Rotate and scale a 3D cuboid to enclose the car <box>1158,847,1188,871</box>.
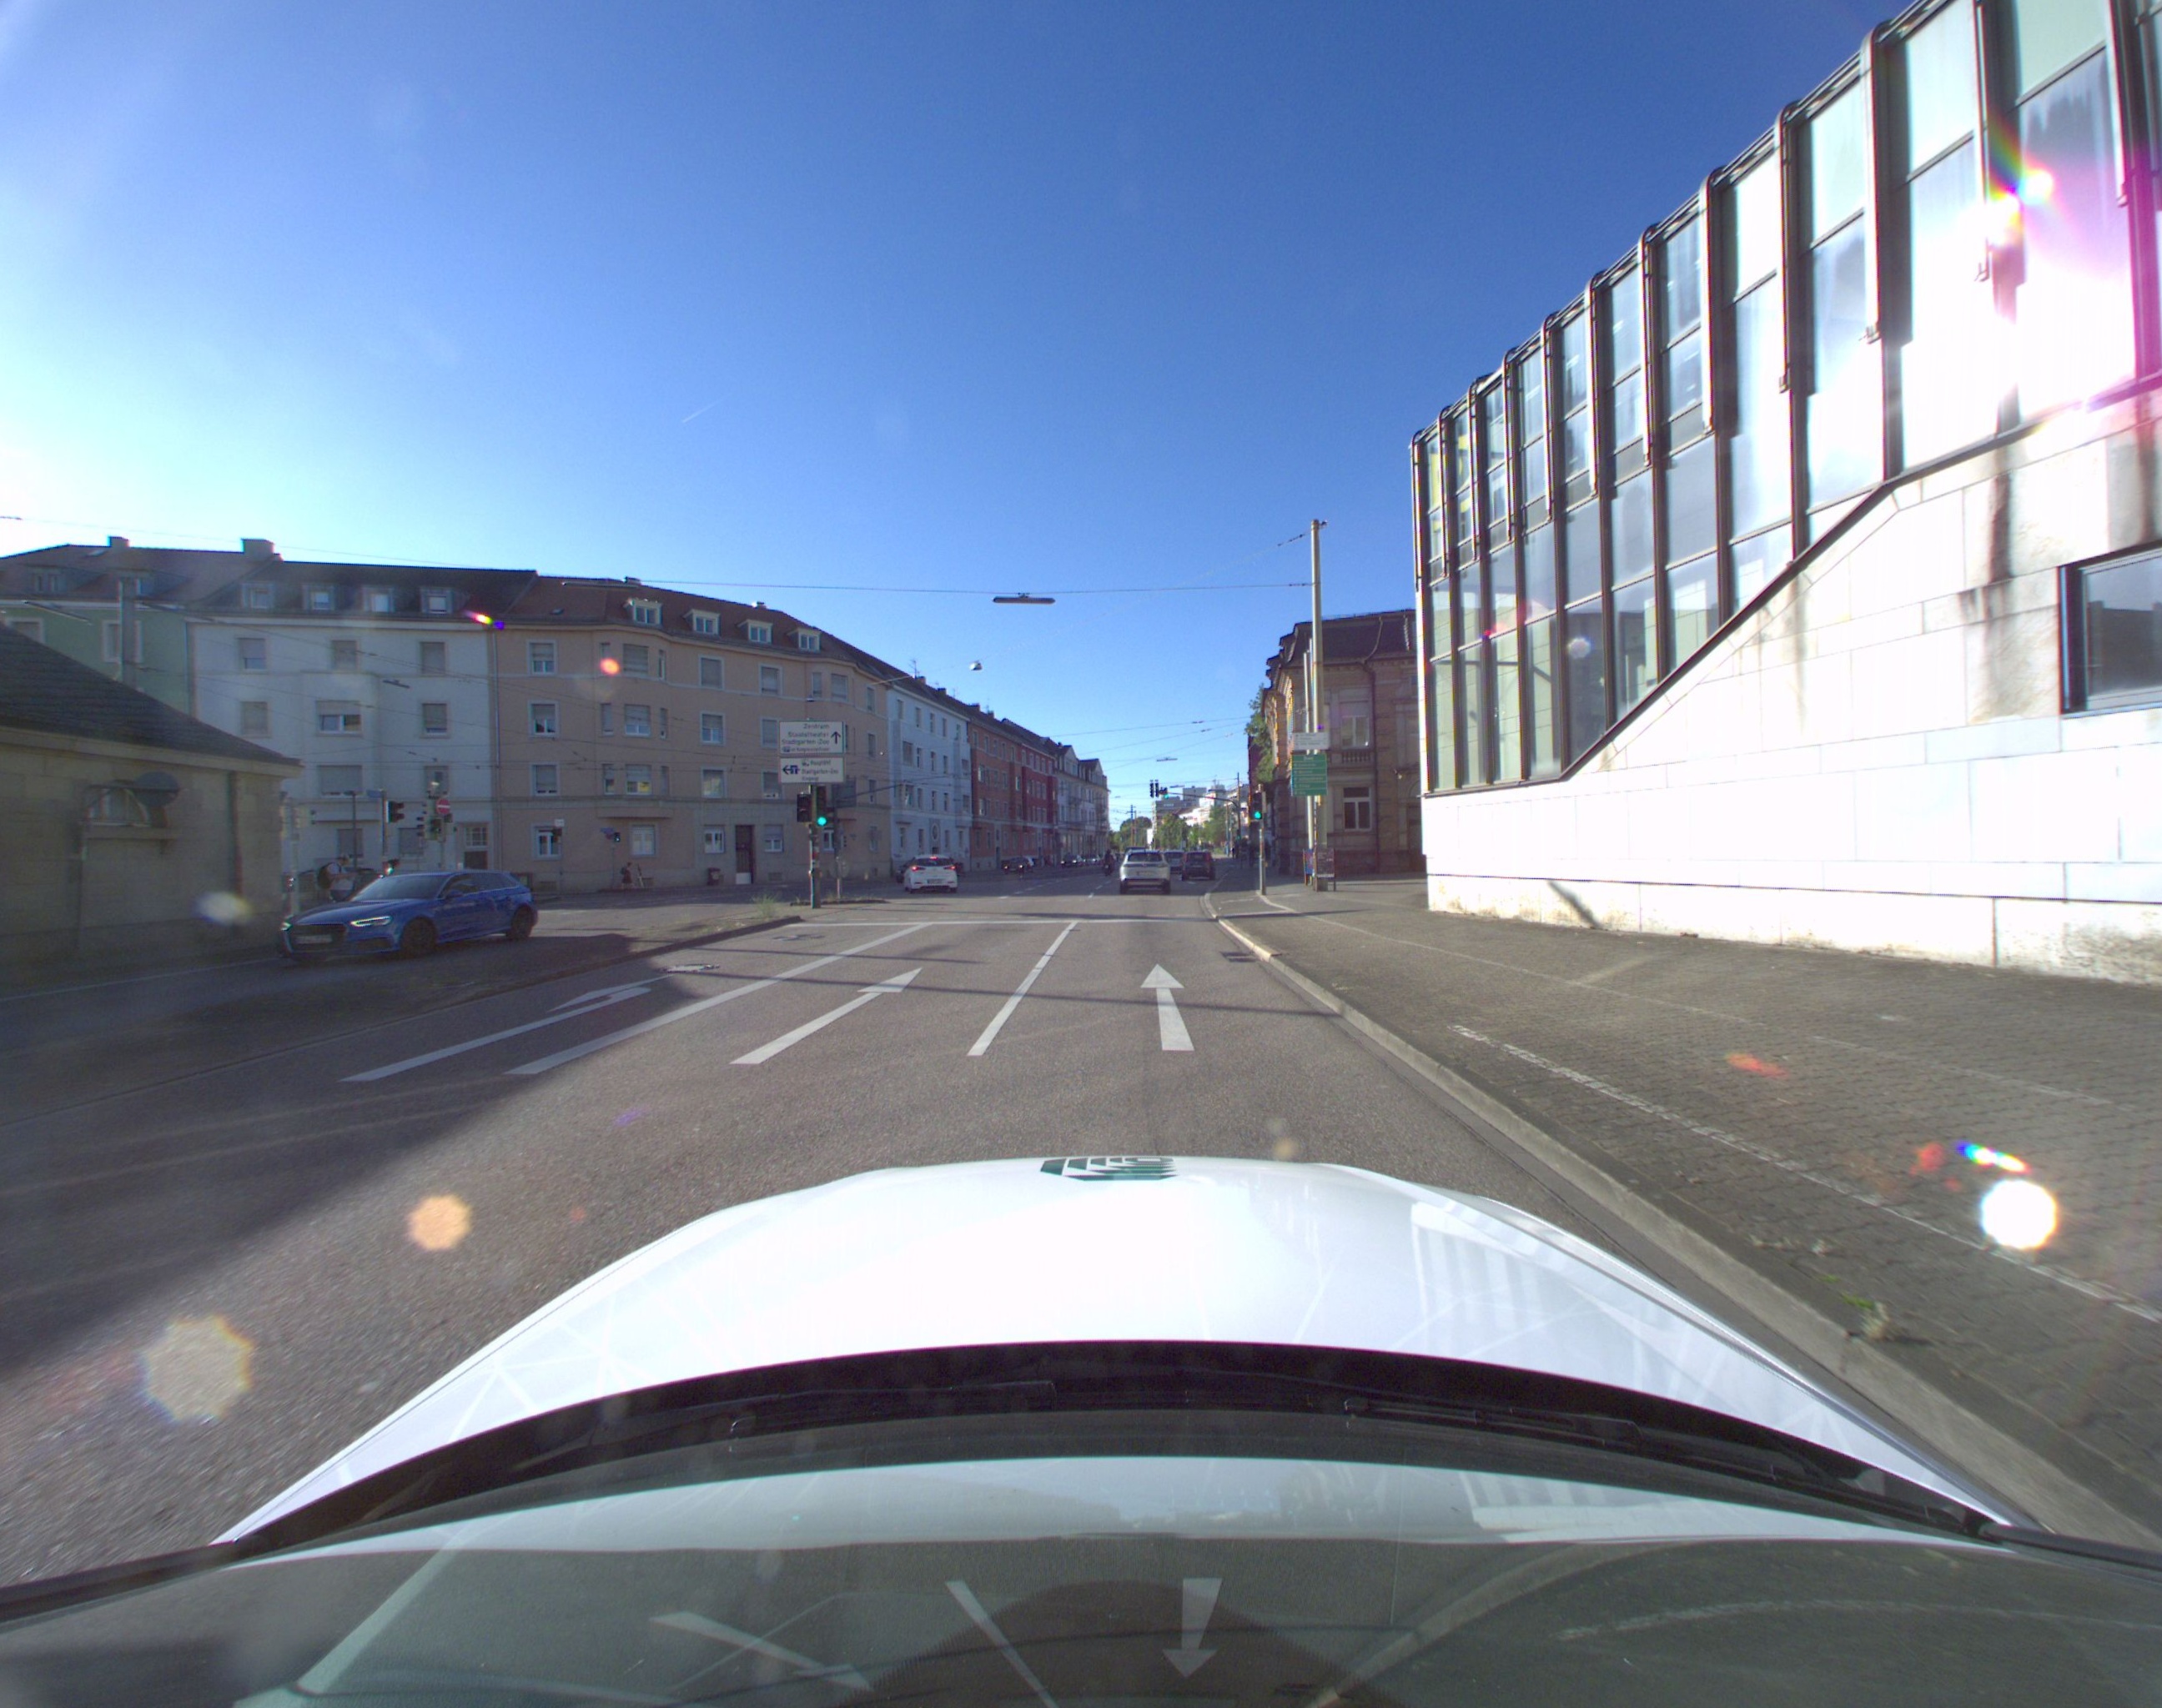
[{"bbox_3d":[6.546,0.341,57.595,1.803,1.582,4.011,-2,0,10],"label":"car"}]

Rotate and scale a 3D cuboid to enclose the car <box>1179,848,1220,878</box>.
[{"bbox_3d":[6.312,0.437,43.043,1.718,1.500,4.016,-1,0,15],"label":"car"}]

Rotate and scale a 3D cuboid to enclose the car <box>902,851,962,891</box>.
[{"bbox_3d":[-5.829,0.636,31.504,1.791,1.394,4.081,-1,0,-17],"label":"car"}]

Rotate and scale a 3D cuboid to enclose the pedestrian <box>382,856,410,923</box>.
[{"bbox_3d":[-17.392,0.891,20.685,0.491,1.640,0.618,-1,0,-37],"label":"pedestrian"}]

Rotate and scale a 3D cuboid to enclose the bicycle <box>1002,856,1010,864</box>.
[{"bbox_3d":[-8.234,0.621,89.747,0.332,0.890,1.611,-2,0,16],"label":"bicycle"}]

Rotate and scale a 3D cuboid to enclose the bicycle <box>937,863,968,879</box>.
[{"bbox_3d":[-9.436,1.212,60.057,0.926,1.056,3.368,-1,0,16],"label":"bicycle"}]

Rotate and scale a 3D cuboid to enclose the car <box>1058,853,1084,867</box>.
[{"bbox_3d":[-1.103,0.605,89.834,1.910,1.455,4.512,-1,0,11],"label":"car"}]

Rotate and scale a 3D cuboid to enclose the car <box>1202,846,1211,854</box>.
[{"bbox_3d":[28.646,-0.935,185.684,1.981,1.662,4.510,-1,0,10],"label":"car"}]

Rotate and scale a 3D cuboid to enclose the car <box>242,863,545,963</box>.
[{"bbox_3d":[-11.656,0.897,14.295,1.806,1.391,4.243,-1,0,-3],"label":"car"}]

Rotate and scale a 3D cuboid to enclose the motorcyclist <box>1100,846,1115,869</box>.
[{"bbox_3d":[1.697,0.225,51.370,0.772,1.423,0.894,-1,0,11],"label":"motorcyclist"}]

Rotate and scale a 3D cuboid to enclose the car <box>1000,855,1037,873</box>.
[{"bbox_3d":[-5.266,0.854,69.032,1.981,1.392,4.574,-1,0,10],"label":"car"}]

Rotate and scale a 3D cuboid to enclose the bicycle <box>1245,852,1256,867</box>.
[{"bbox_3d":[12.594,0.379,60.474,0.766,1.086,1.876,-1,0,10],"label":"bicycle"}]

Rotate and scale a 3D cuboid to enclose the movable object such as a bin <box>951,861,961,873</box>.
[{"bbox_3d":[-11.454,1.205,74.537,0.697,1.106,0.584,-1,0,11],"label":"movable object such as a bin"}]

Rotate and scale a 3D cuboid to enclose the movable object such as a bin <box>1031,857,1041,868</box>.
[{"bbox_3d":[-5.637,1.061,102.403,0.863,1.249,1.239,-2,0,18],"label":"movable object such as a bin"}]

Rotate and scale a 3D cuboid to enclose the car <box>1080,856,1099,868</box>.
[{"bbox_3d":[1.044,0.930,100.669,1.715,1.375,3.545,-2,0,10],"label":"car"}]

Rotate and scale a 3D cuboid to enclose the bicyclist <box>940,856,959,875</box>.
[{"bbox_3d":[-9.600,0.824,59.517,0.927,1.382,1.153,-1,0,16],"label":"bicyclist"}]

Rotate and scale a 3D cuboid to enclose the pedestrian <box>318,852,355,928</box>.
[{"bbox_3d":[-16.656,0.790,18.224,0.517,1.640,0.618,-1,0,-37],"label":"pedestrian"}]

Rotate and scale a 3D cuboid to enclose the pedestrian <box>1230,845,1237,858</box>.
[{"bbox_3d":[20.719,-0.342,110.916,0.869,1.824,1.188,-1,0,12],"label":"pedestrian"}]

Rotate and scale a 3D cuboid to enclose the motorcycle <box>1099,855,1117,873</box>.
[{"bbox_3d":[1.725,0.644,51.439,0.772,1.082,2.288,-1,0,11],"label":"motorcycle"}]

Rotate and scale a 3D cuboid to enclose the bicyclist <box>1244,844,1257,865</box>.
[{"bbox_3d":[12.572,0.046,60.389,0.829,1.525,0.996,-1,0,7],"label":"bicyclist"}]

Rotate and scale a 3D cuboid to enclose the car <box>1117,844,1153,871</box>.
[{"bbox_3d":[4.279,0.241,64.188,2.158,2.009,4.823,-2,0,11],"label":"car"}]

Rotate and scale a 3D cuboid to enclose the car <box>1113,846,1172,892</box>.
[{"bbox_3d":[2.256,0.504,29.536,1.938,1.528,4.095,-1,0,5],"label":"car"}]

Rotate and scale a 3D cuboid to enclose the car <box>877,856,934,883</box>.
[{"bbox_3d":[-10.054,0.869,46.869,1.813,1.425,4.336,-1,0,7],"label":"car"}]

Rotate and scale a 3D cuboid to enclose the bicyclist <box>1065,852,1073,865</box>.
[{"bbox_3d":[-1.493,0.573,101.084,0.741,1.643,1.129,-2,0,12],"label":"bicyclist"}]

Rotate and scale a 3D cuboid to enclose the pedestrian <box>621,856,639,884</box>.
[{"bbox_3d":[-25.132,0.897,45.401,0.724,1.563,0.669,-1,0,-39],"label":"pedestrian"}]
